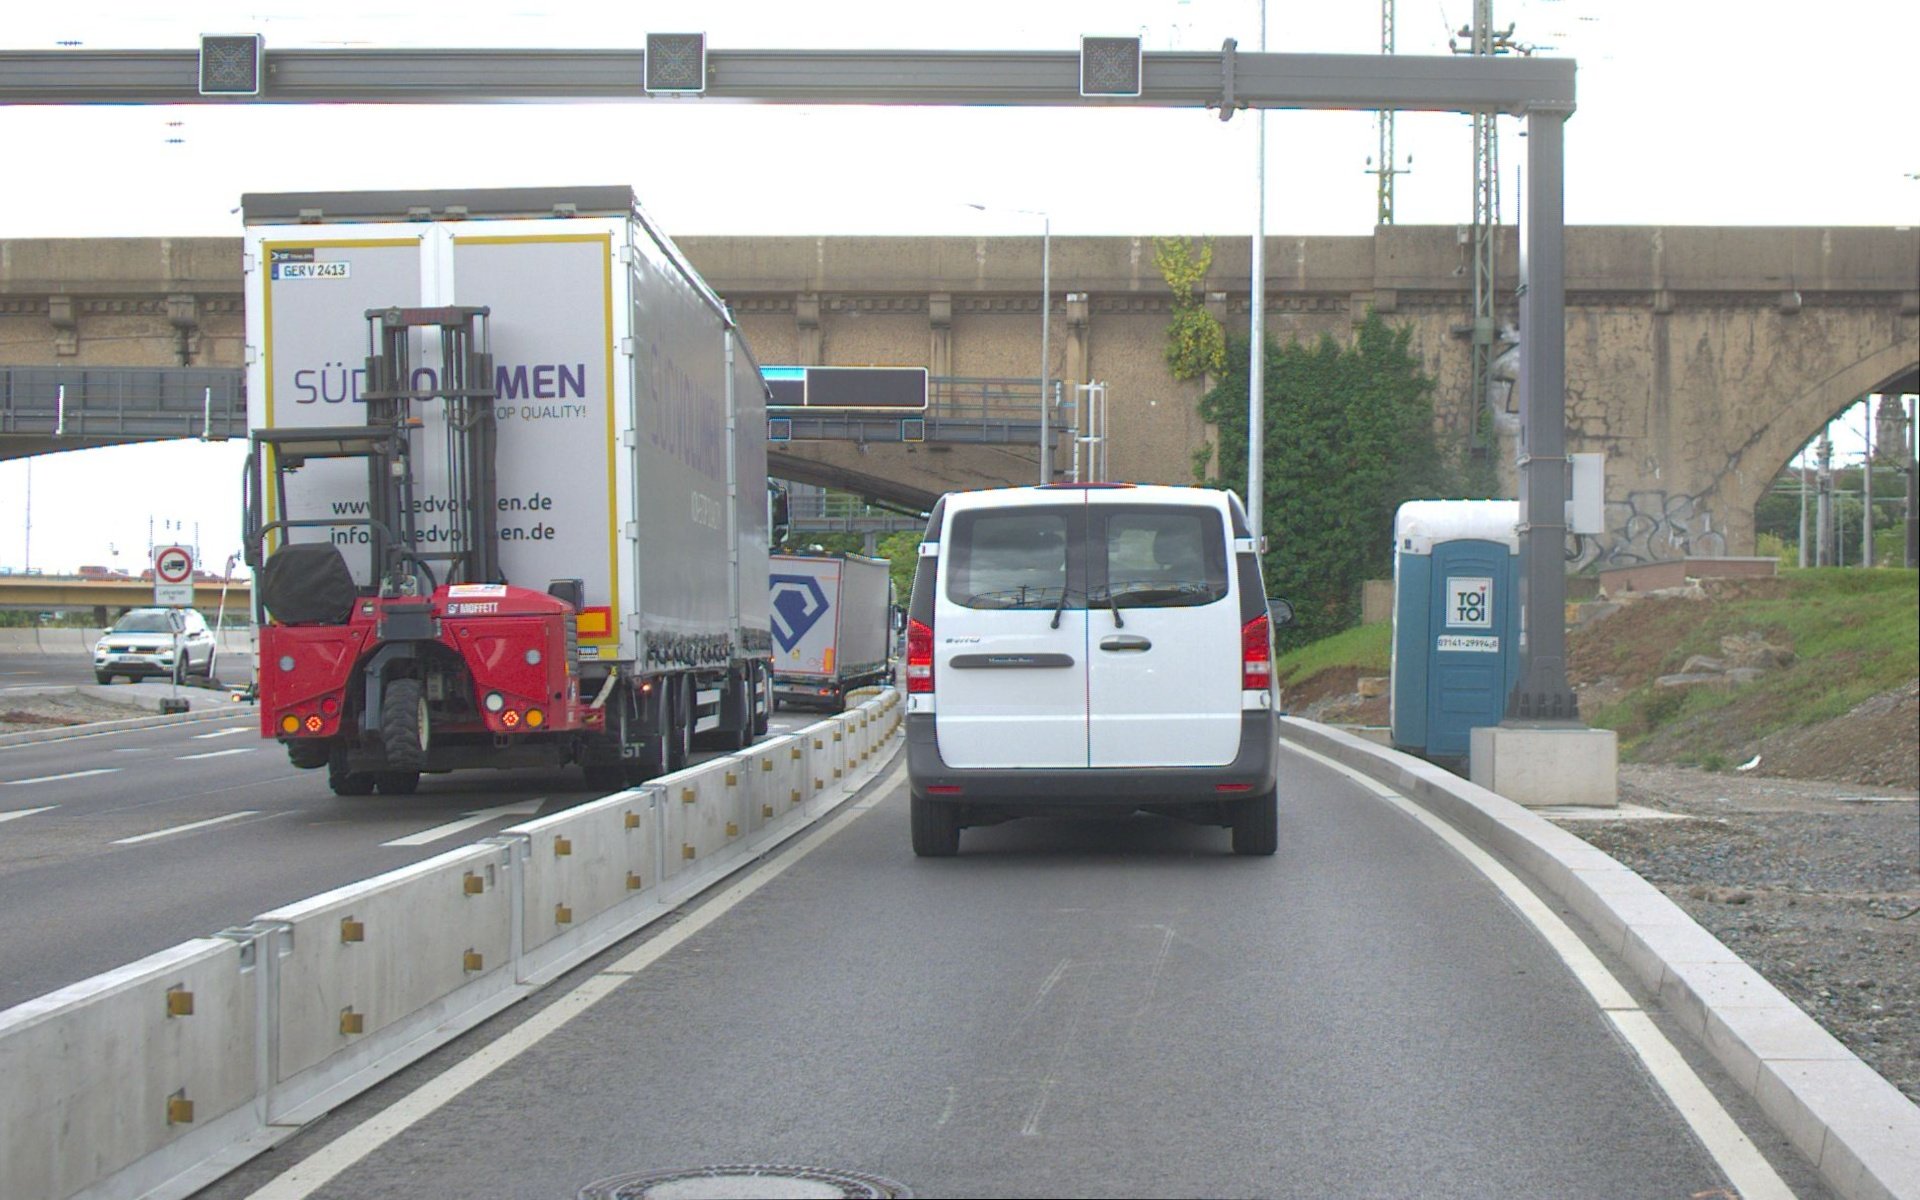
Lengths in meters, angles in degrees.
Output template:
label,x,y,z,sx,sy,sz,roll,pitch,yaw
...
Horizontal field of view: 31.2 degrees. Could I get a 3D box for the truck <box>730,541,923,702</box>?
label,x,y,z,sx,sy,sz,roll,pitch,yaw
truck,-3.330,0.583,91.752,3.317,3.797,16.590,2,0,4

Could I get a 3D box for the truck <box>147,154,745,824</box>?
label,x,y,z,sx,sy,sz,roll,pitch,yaw
truck,-3.444,-0.595,26.036,2.917,4.003,10.200,2,-1,0

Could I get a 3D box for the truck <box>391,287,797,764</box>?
label,x,y,z,sx,sy,sz,roll,pitch,yaw
truck,-3.519,-0.529,36.192,2.987,4.162,11.239,2,-1,0

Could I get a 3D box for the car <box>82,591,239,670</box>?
label,x,y,z,sx,sy,sz,roll,pitch,yaw
car,-17.232,0.641,74.262,1.800,1.656,4.286,0,0,9

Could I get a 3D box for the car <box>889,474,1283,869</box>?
label,x,y,z,sx,sy,sz,roll,pitch,yaw
car,0.790,0.347,18.877,1.876,1.884,4.752,0,0,5
